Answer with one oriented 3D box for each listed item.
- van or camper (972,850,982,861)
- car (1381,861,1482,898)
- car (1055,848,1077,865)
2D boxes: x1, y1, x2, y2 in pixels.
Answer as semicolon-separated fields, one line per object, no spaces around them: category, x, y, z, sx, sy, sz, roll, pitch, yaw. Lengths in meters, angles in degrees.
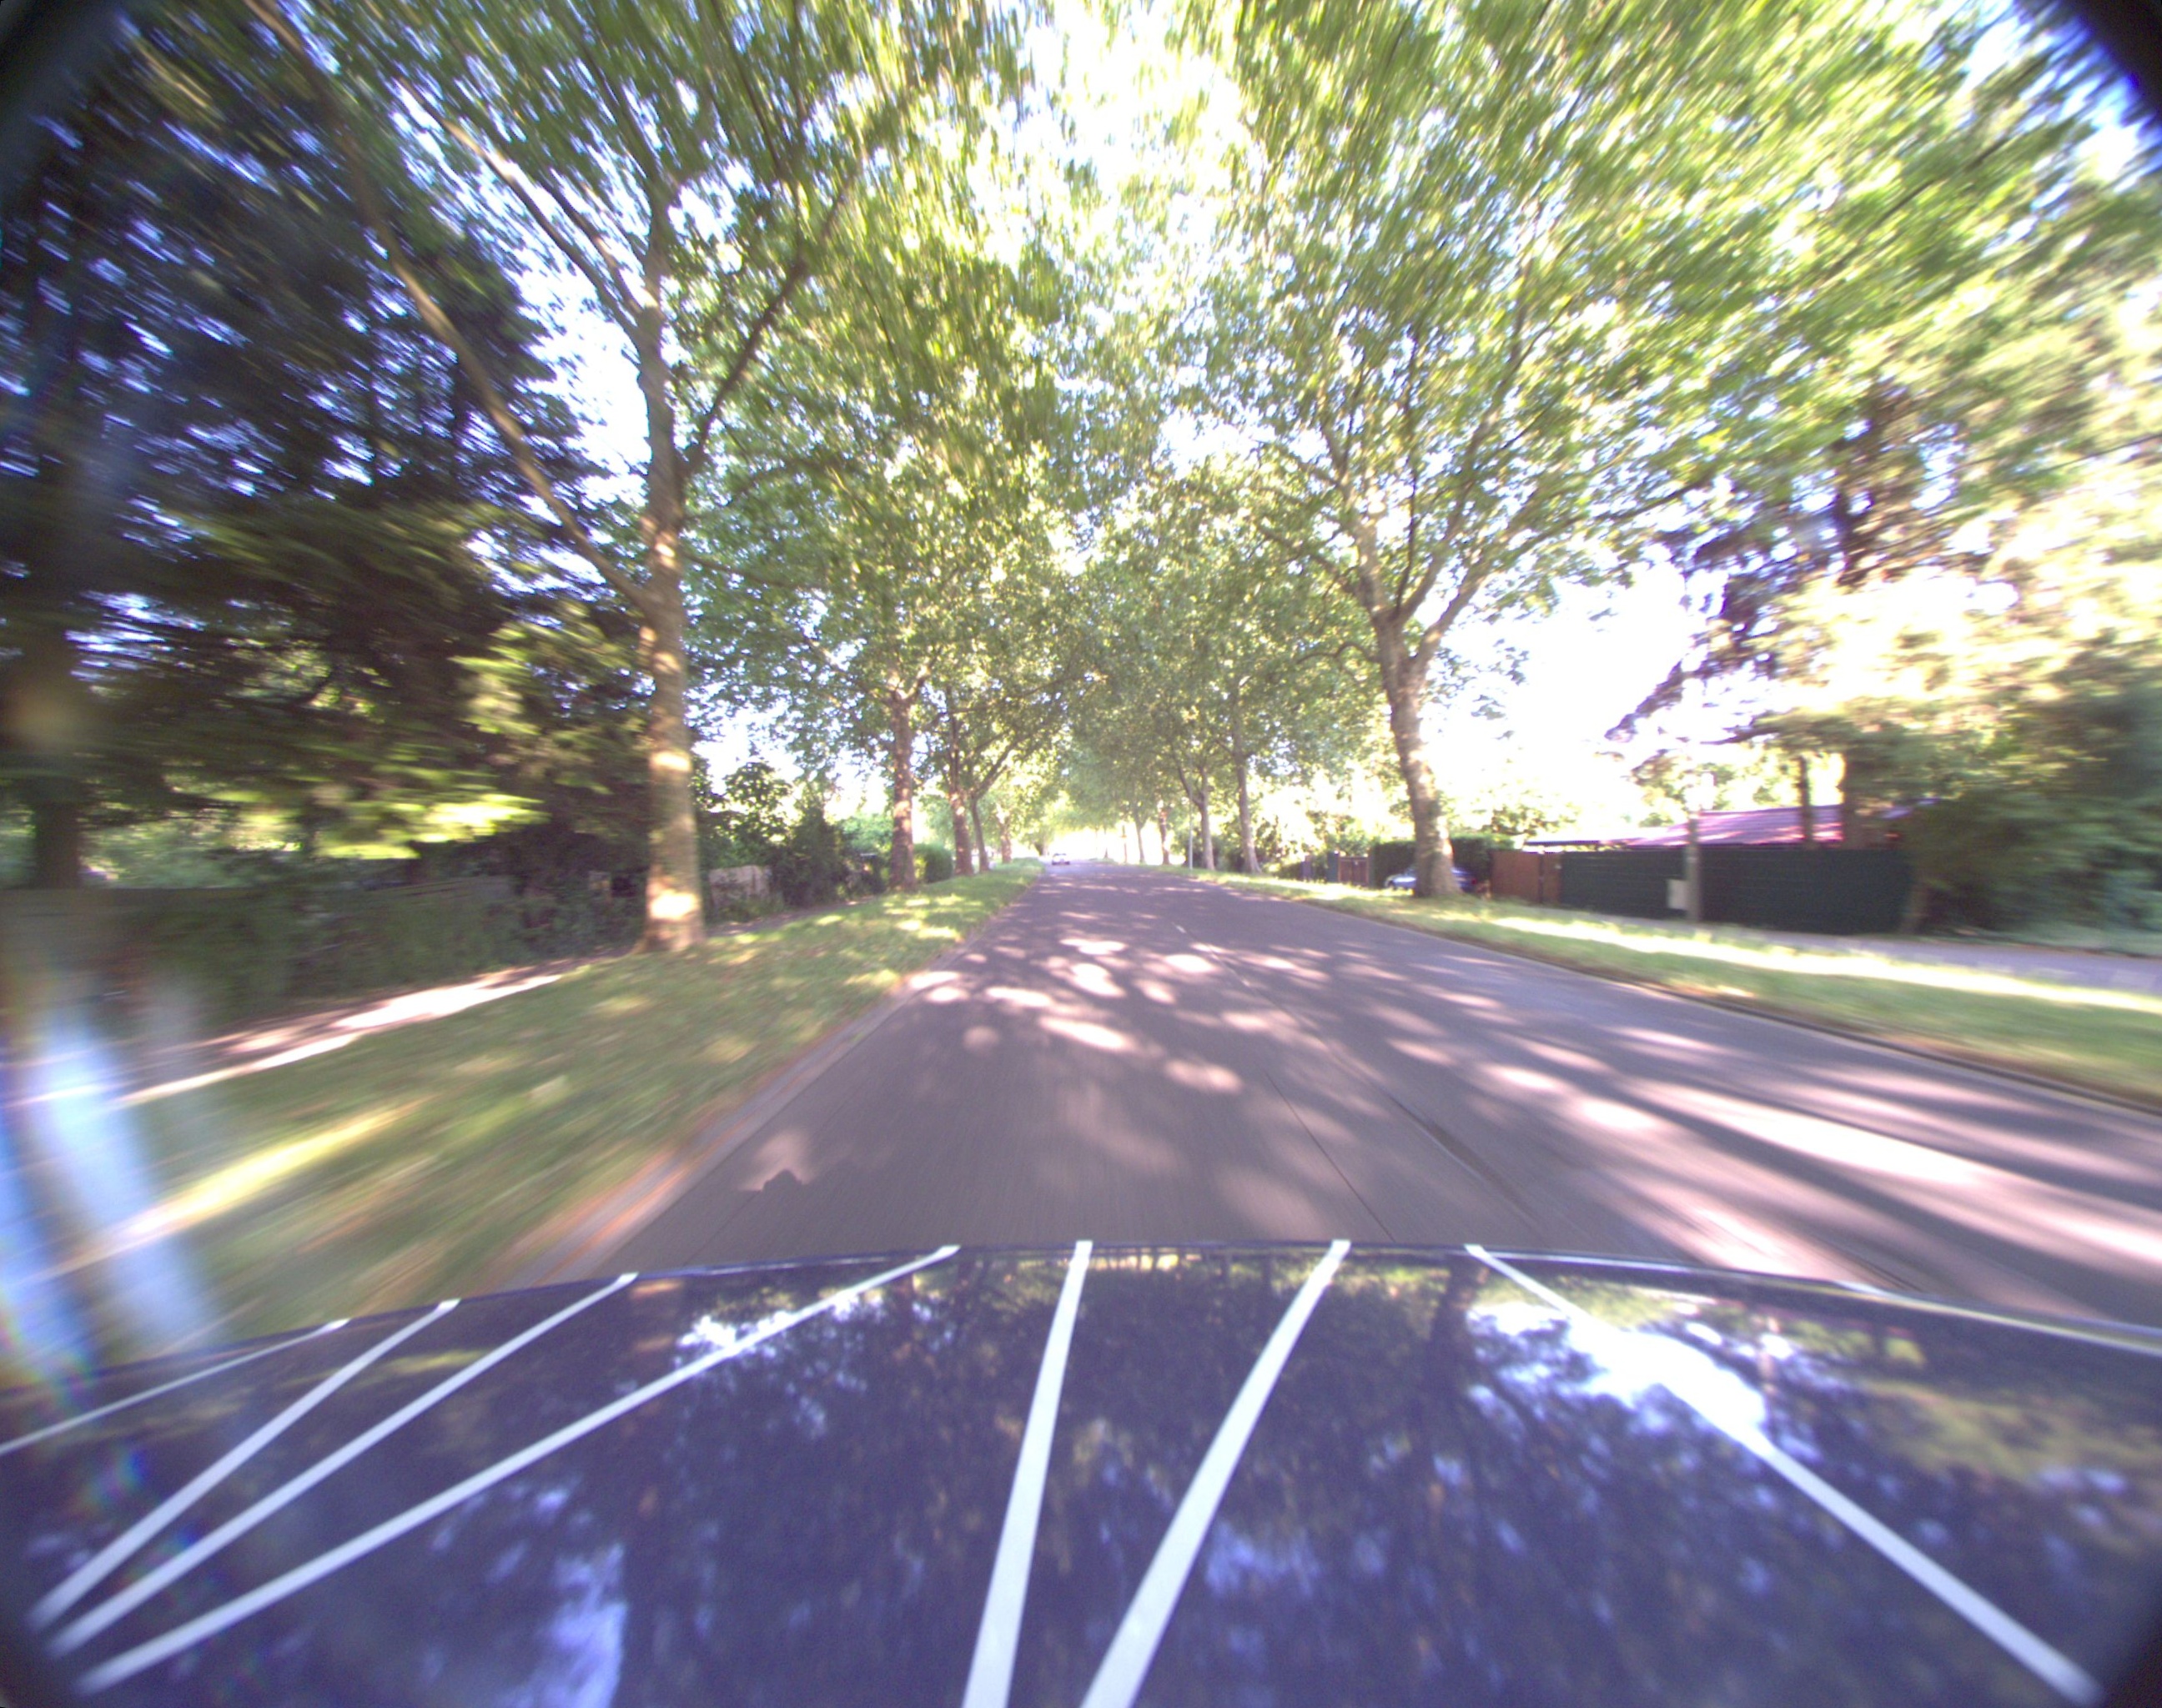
van or camper;-27.300;0.303;198.803;2.388;2.784;5.679;-2;1;-9
car;13.170;0.901;28.800;1.757;1.296;3.998;0;0;-4
car;-1.661;0.225;80.402;1.999;1.656;3.997;-2;1;-5
